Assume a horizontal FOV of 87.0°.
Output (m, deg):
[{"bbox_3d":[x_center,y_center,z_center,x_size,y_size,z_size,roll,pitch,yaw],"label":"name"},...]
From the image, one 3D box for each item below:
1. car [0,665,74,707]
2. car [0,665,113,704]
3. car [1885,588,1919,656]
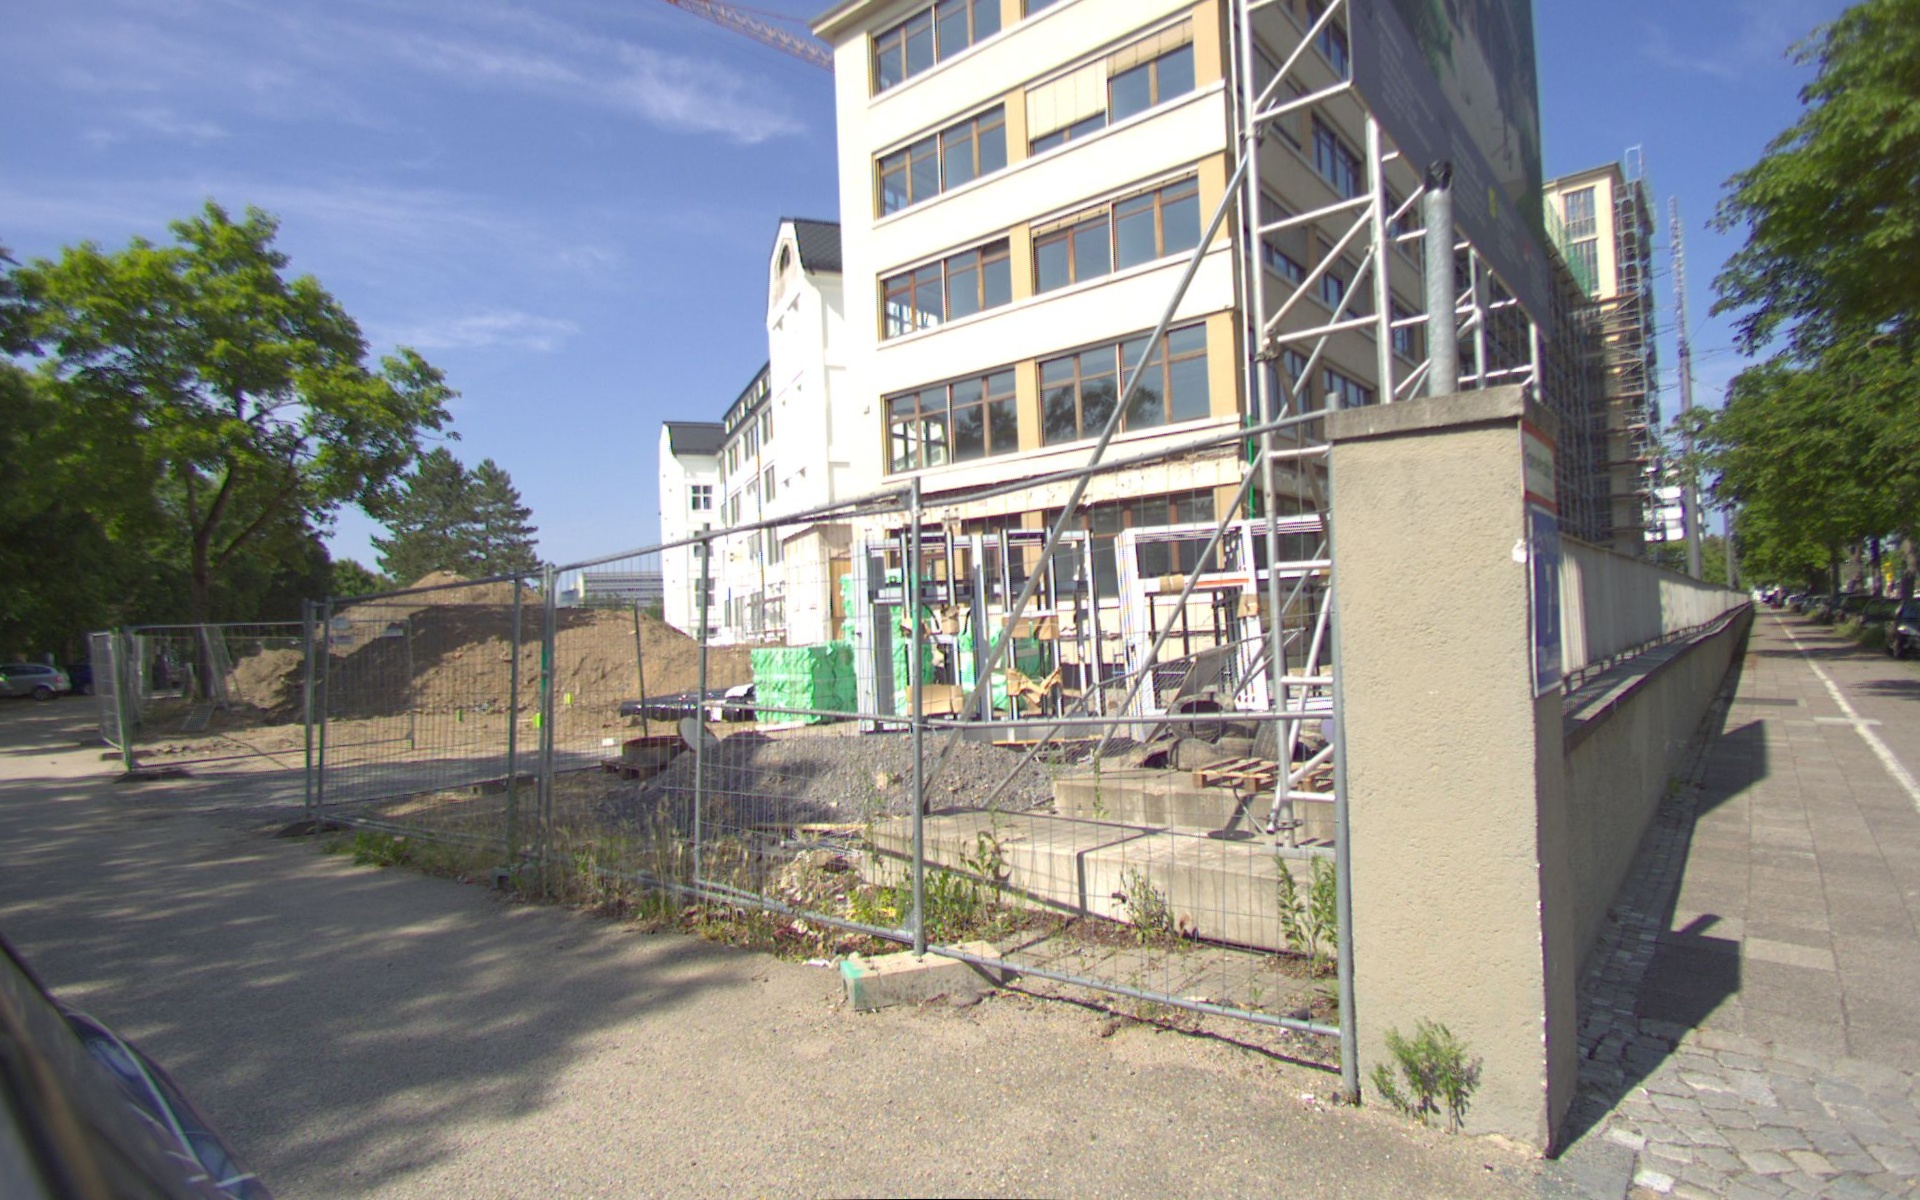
[{"bbox_3d":[-38.246,3.479,40.468,3.932,1.519,2.006,-1,-2,-31],"label":"car"},{"bbox_3d":[-40.667,3.762,45.290,3.932,1.453,2.006,-1,-2,-31],"label":"car"},{"bbox_3d":[22.669,0.438,23.175,1.819,1.464,3.949,-4,-2,38],"label":"car"}]
